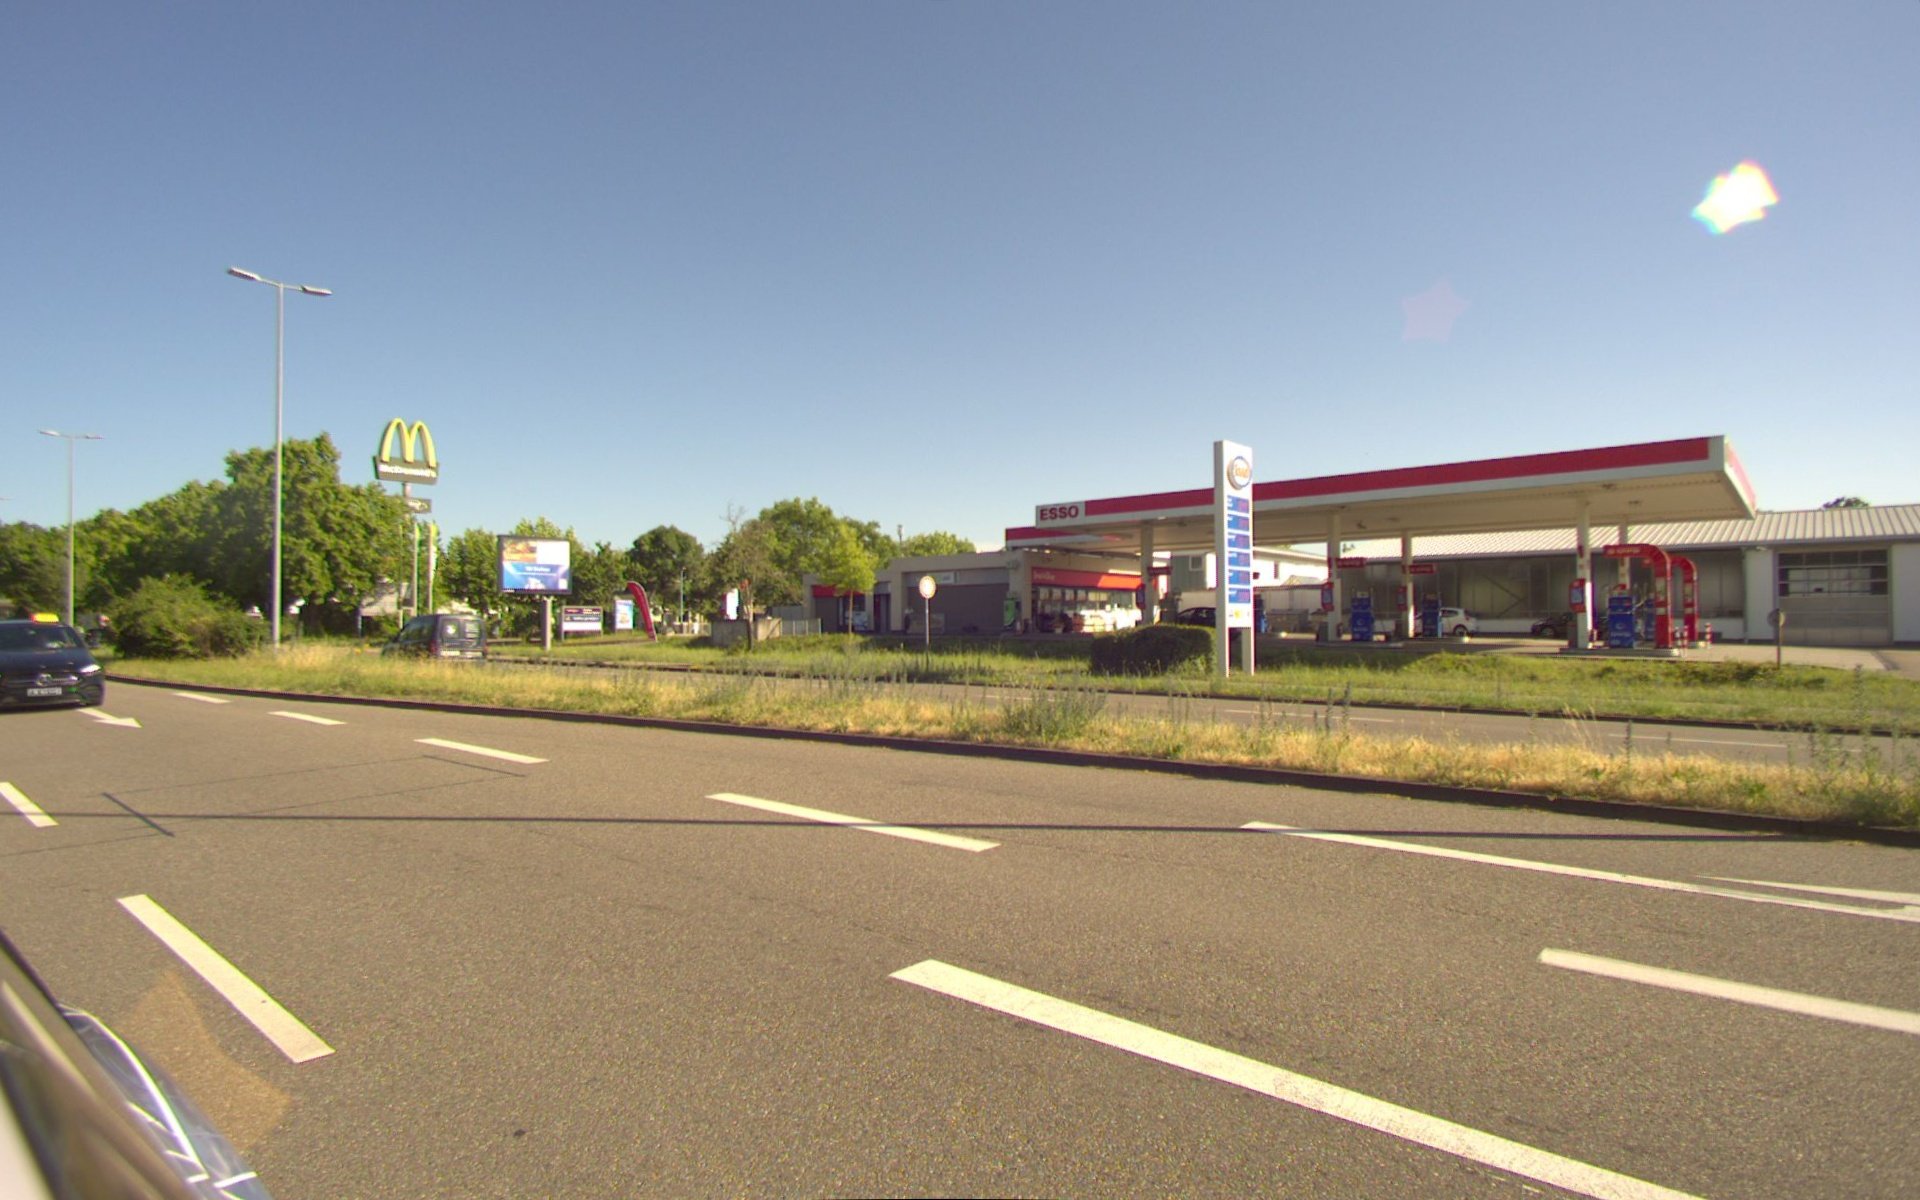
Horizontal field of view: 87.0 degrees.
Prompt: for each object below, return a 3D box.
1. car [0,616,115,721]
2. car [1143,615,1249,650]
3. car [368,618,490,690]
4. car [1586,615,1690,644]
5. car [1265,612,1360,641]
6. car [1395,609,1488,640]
[{"bbox_3d":[-16.370,1.121,17.664,4.580,1.614,1.765,-2,-1,40],"label":"car"},{"bbox_3d":[10.140,1.383,43.606,3.998,1.416,1.973,-2,-2,41],"label":"car"},{"bbox_3d":[-15.406,1.487,29.263,4.292,1.862,1.660,-1,0,41],"label":"car"},{"bbox_3d":[30.543,1.301,45.648,3.729,1.196,1.658,-1,0,41],"label":"car"},{"bbox_3d":[19.481,1.433,56.025,4.540,1.477,1.973,-1,0,41],"label":"car"},{"bbox_3d":[24.313,1.212,51.162,3.855,1.500,1.973,-1,0,41],"label":"car"}]
